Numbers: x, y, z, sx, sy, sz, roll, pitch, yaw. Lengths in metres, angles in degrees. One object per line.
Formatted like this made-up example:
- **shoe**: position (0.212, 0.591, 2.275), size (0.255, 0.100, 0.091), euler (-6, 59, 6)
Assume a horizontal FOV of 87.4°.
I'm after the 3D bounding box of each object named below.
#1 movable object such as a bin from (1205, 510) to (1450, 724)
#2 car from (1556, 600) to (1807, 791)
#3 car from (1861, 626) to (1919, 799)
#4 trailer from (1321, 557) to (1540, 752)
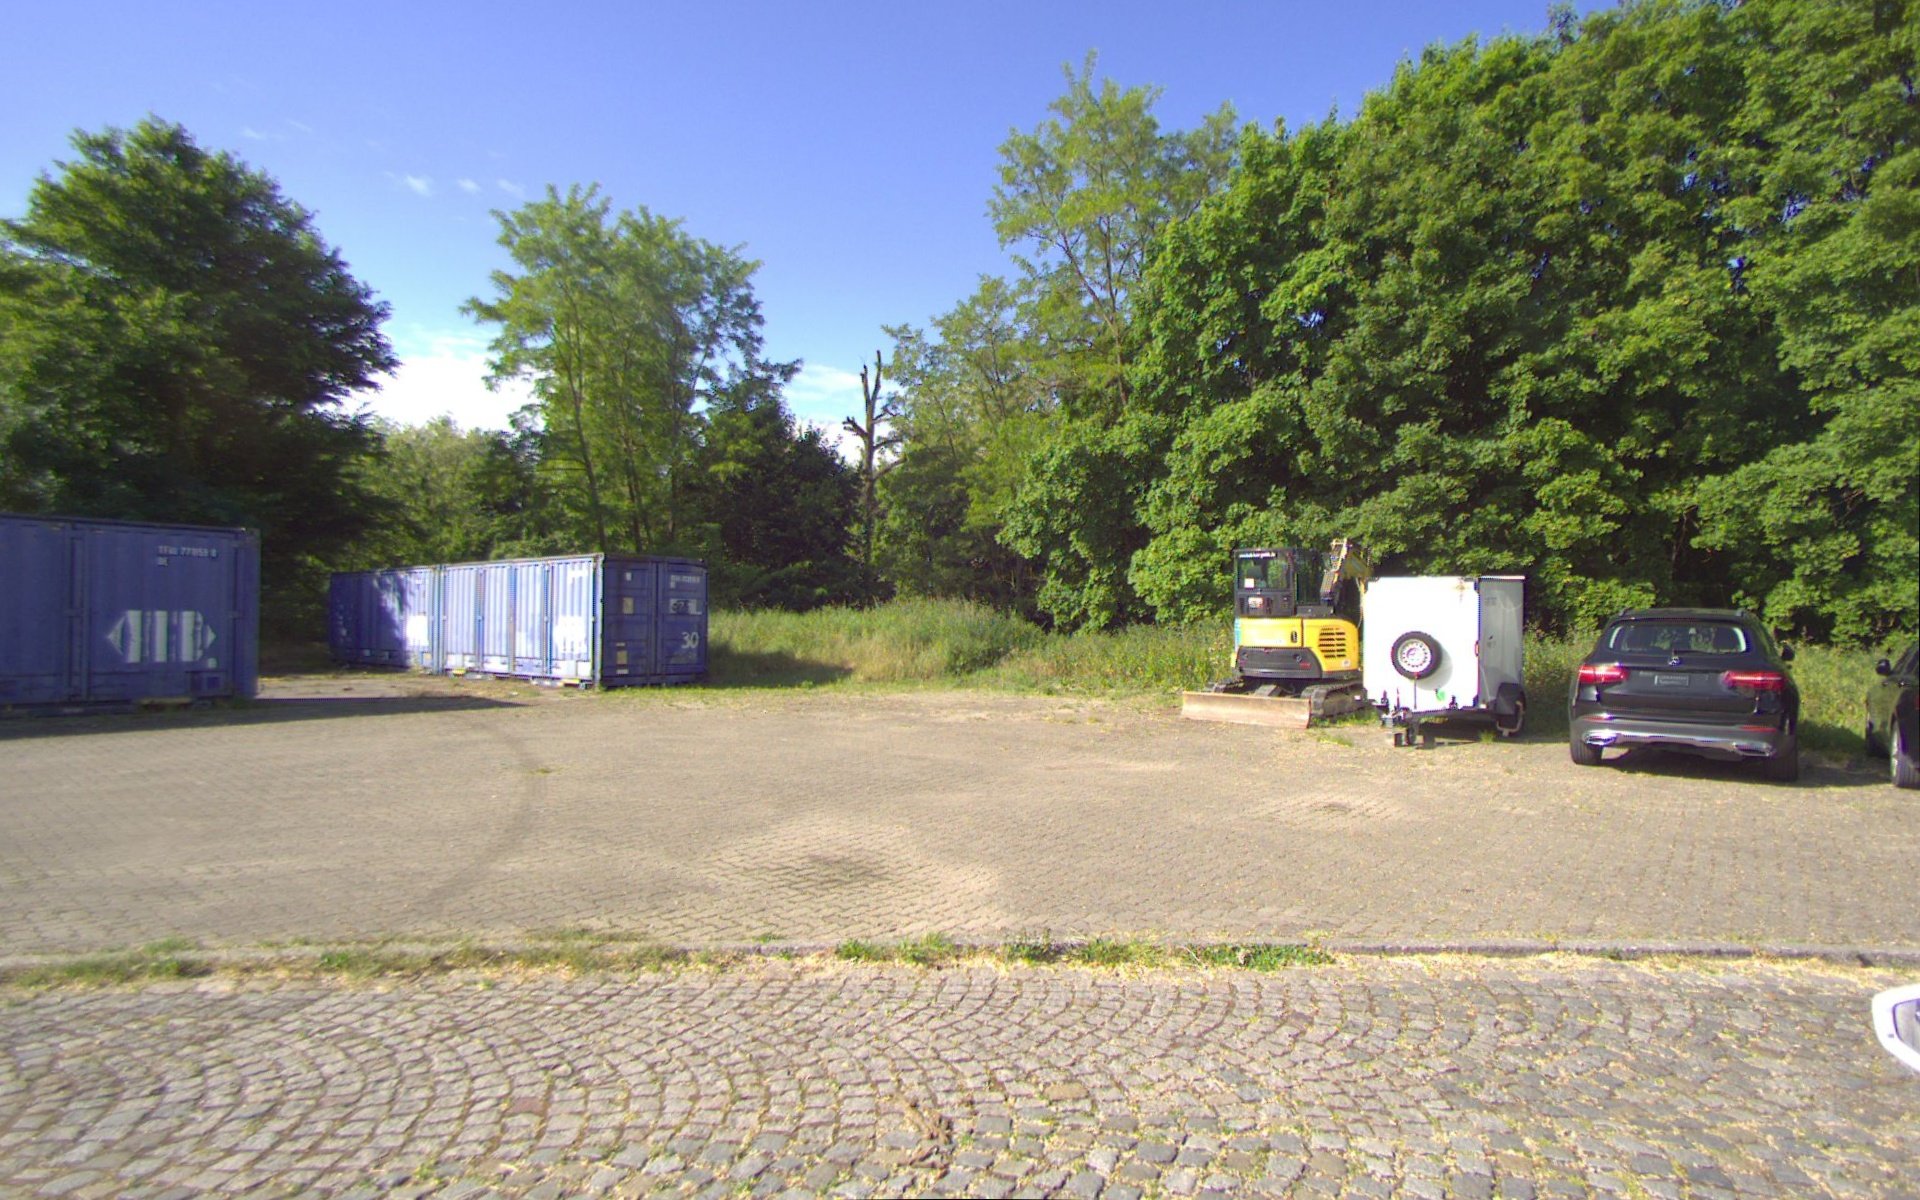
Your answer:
- **movable object such as a bin**: position (6.260, 0.317, 16.711), size (1.973, 3.005, 5.134), euler (-1, -2, 44)
- **car**: position (7.863, 0.874, 10.812), size (1.841, 1.663, 3.801), euler (-1, -1, 41)
- **car**: position (9.874, 0.990, 9.516), size (1.806, 1.470, 3.647), euler (-1, -2, 39)
- **trailer**: position (6.207, 0.606, 13.014), size (1.615, 2.122, 3.954), euler (-1, 0, 40)
